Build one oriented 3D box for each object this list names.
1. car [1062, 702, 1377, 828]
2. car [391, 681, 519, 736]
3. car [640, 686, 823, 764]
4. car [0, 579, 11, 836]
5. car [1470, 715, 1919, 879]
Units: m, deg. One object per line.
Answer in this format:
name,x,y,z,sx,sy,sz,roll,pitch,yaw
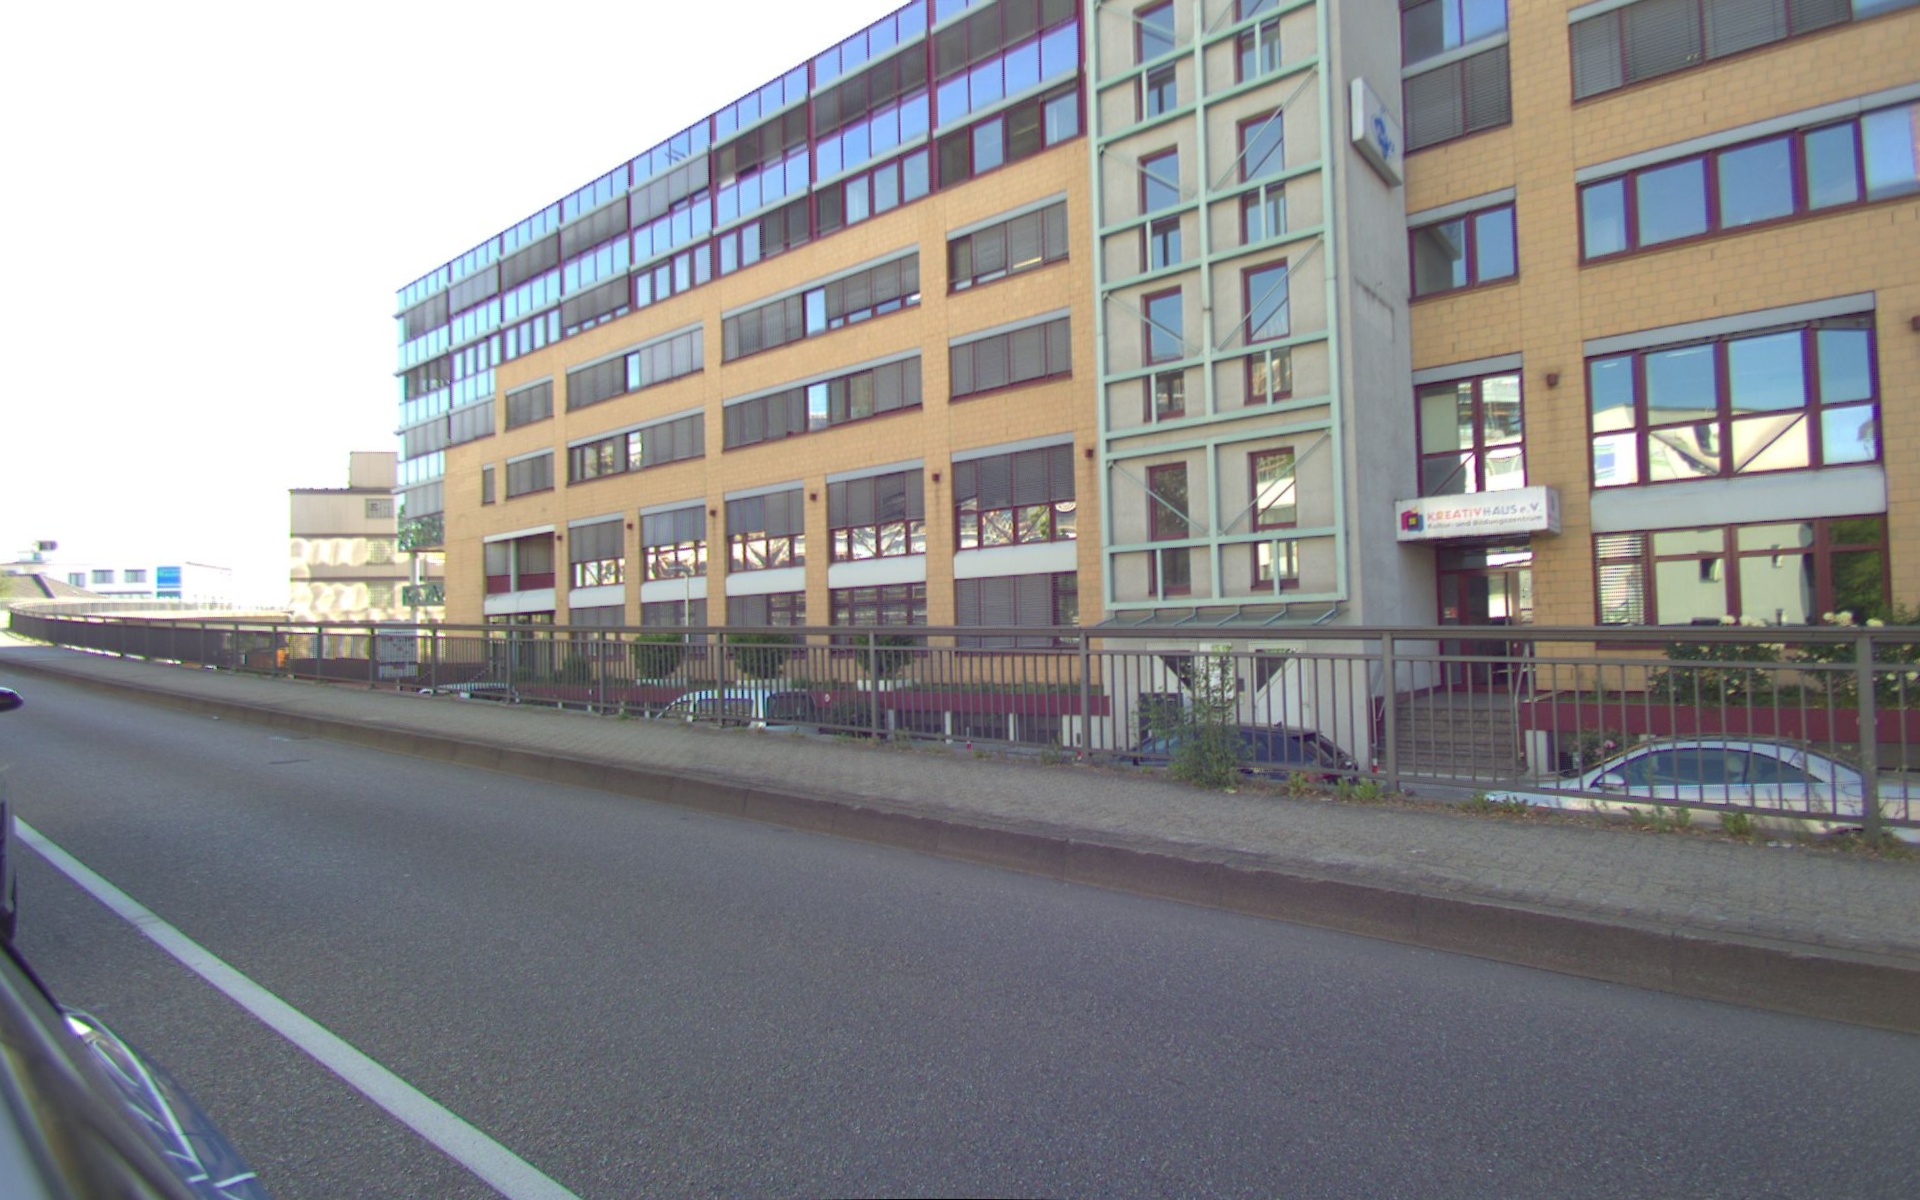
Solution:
car,3.385,2.104,13.584,3.805,1.279,1.560,-3,-4,40
car,-13.820,2.914,27.628,3.805,1.279,1.744,-3,-4,40
car,-4.594,2.413,20.129,3.805,1.279,1.560,-3,-4,40
car,-5.844,0.791,4.660,3.998,1.660,1.726,-3,-4,41
car,7.685,1.876,10.209,4.254,1.175,1.704,-3,-4,40
